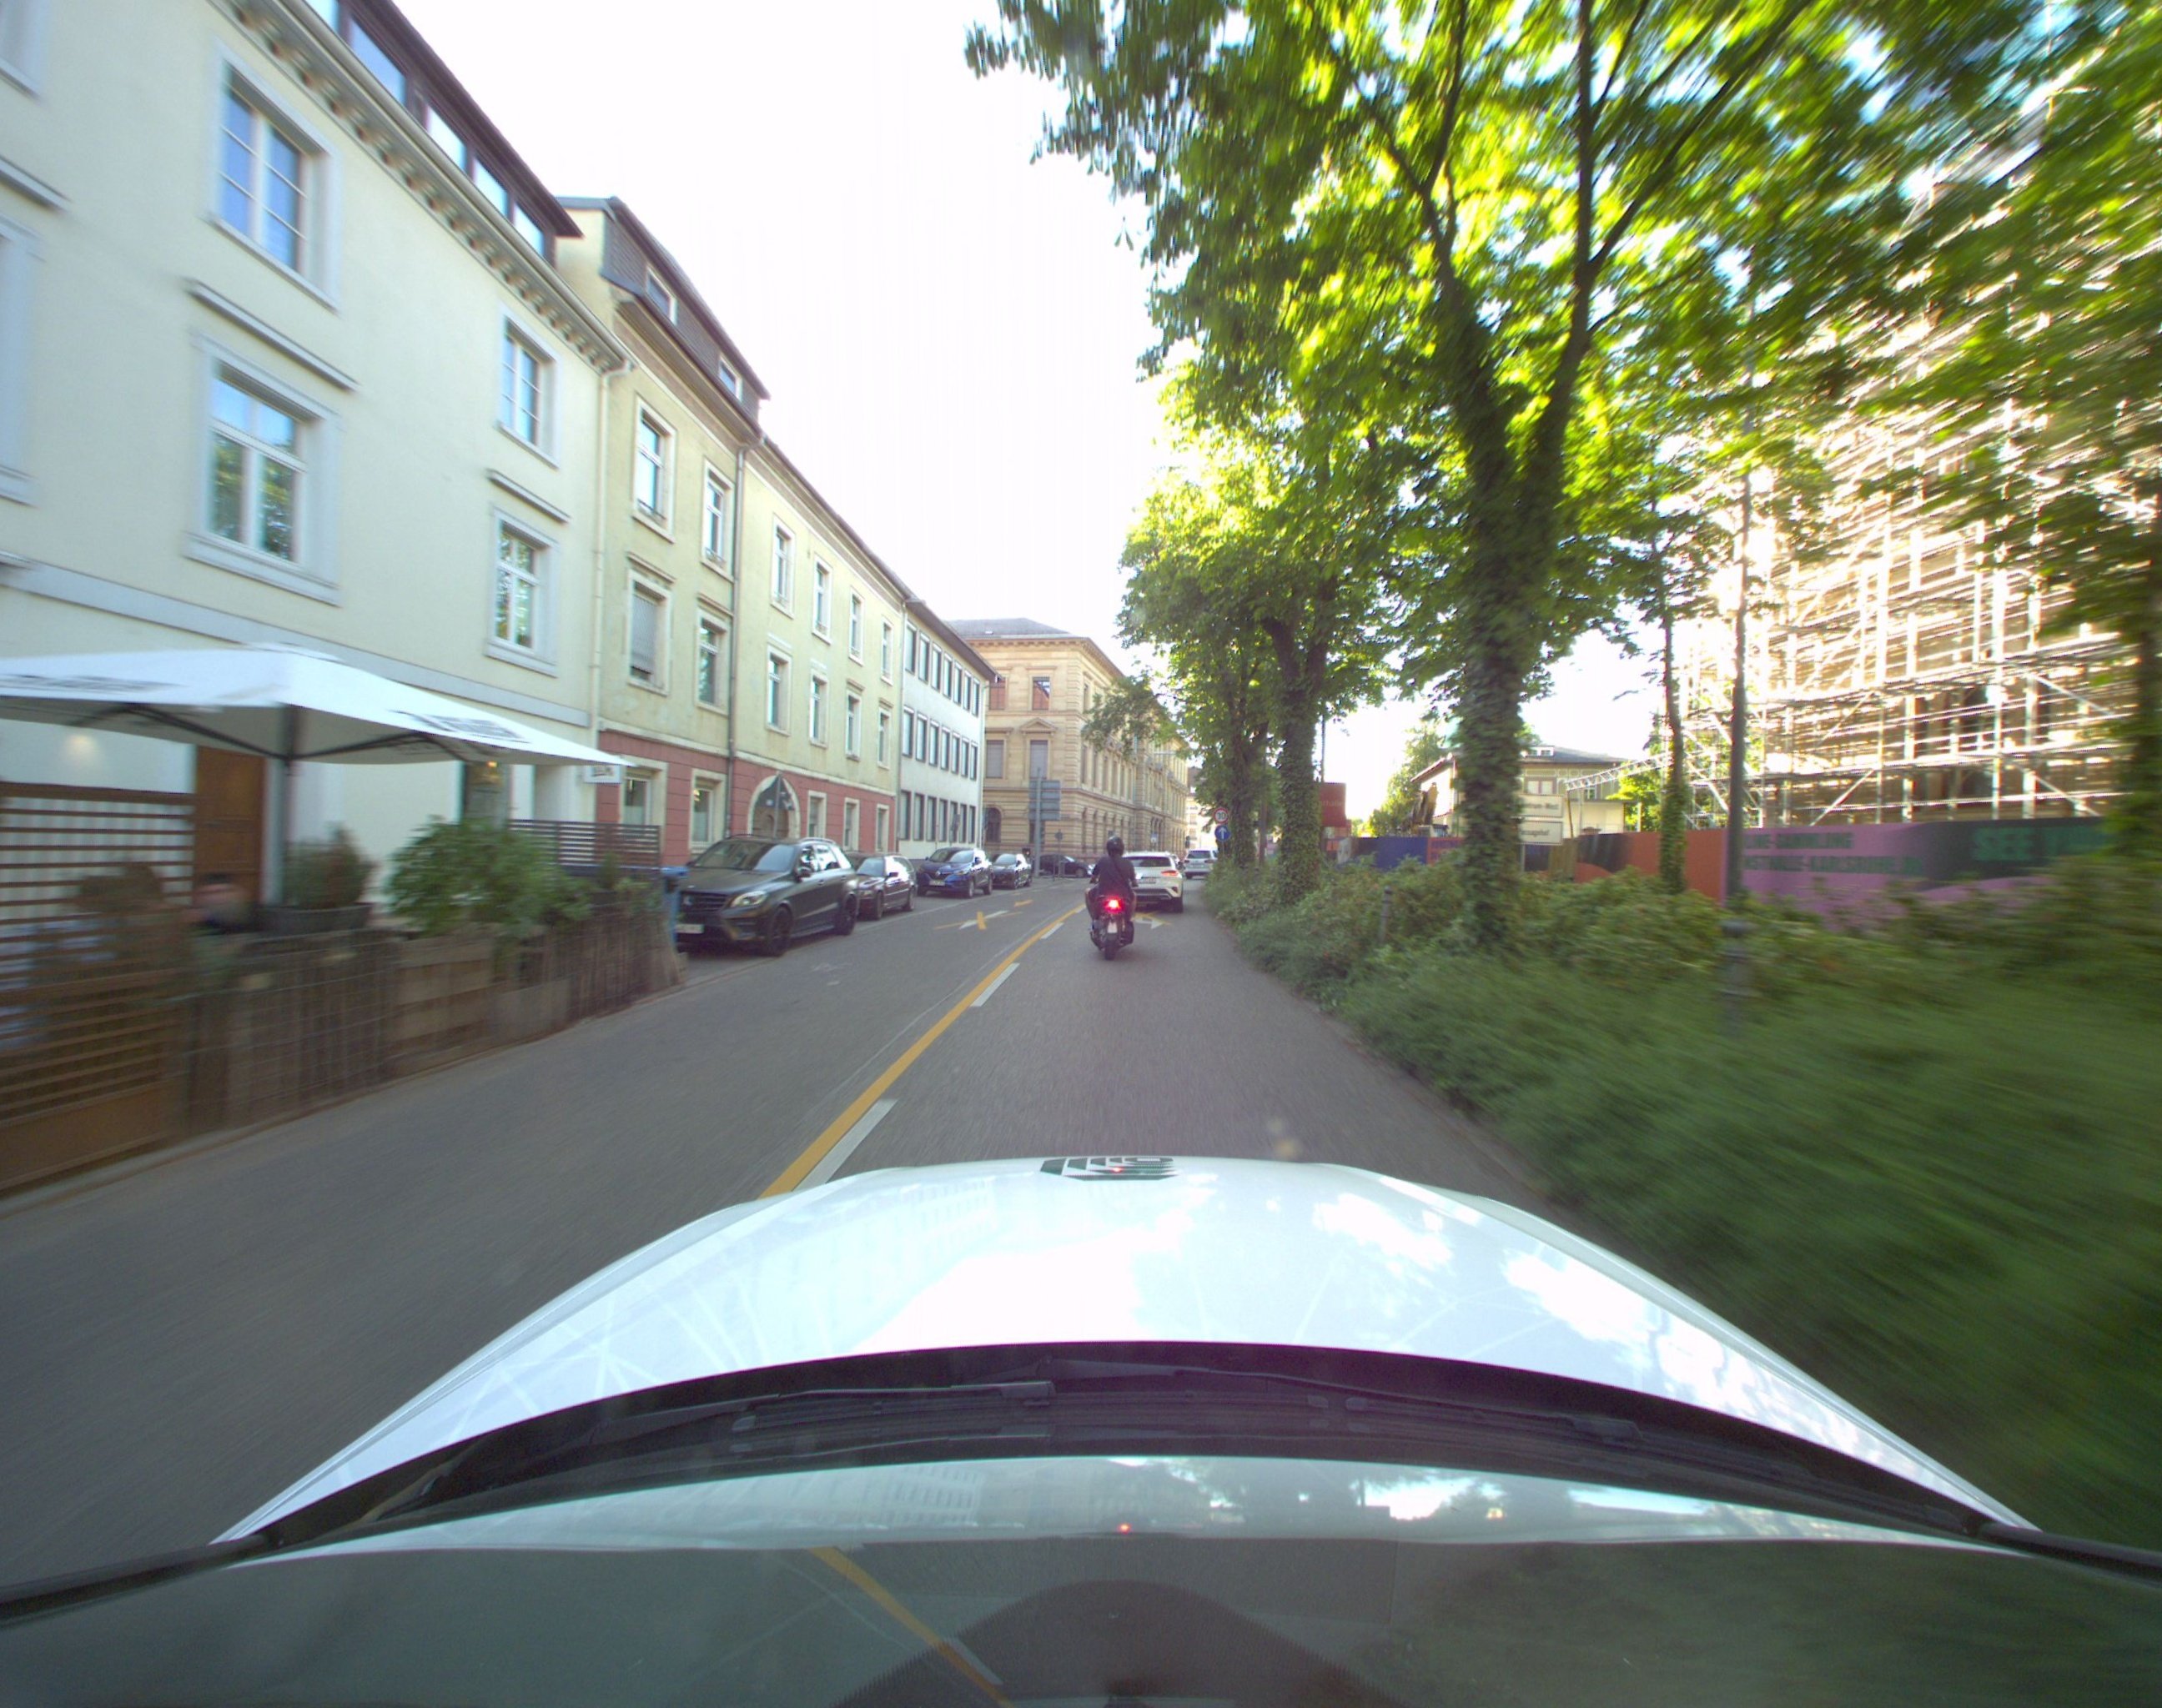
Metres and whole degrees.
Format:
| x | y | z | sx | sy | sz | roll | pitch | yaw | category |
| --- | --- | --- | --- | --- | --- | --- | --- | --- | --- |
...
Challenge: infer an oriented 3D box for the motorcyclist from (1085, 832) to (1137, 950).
| x | y | z | sx | sy | sz | roll | pitch | yaw | category |
| --- | --- | --- | --- | --- | --- | --- | --- | --- | --- |
| 0.449 | 0.529 | 11.924 | 0.654 | 1.650 | 0.651 | 2 | 0 | 5 | motorcyclist |

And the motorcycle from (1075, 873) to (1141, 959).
| x | y | z | sx | sy | sz | roll | pitch | yaw | category |
| --- | --- | --- | --- | --- | --- | --- | --- | --- | --- |
| 0.425 | 0.852 | 11.753 | 0.792 | 1.066 | 1.728 | 2 | 0 | 6 | motorcycle |

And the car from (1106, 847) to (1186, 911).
| x | y | z | sx | sy | sz | roll | pitch | yaw | category |
| --- | --- | --- | --- | --- | --- | --- | --- | --- | --- |
| 1.749 | 0.578 | 21.099 | 1.841 | 1.480 | 4.065 | 0 | 0 | 6 | car |

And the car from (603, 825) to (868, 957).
| x | y | z | sx | sy | sz | roll | pitch | yaw | category |
| --- | --- | --- | --- | --- | --- | --- | --- | --- | --- |
| -5.107 | 0.467 | 12.932 | 1.914 | 1.679 | 4.789 | 1 | 0 | 3 | car |

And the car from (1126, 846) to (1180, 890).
| x | y | z | sx | sy | sz | roll | pitch | yaw | category |
| --- | --- | --- | --- | --- | --- | --- | --- | --- | --- |
| 2.795 | 0.494 | 30.894 | 1.830 | 1.463 | 4.065 | 2 | 0 | 7 | car |

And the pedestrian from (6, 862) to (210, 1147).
| x | y | z | sx | sy | sz | roll | pitch | yaw | category |
| --- | --- | --- | --- | --- | --- | --- | --- | --- | --- |
| -5.252 | 0.770 | 4.421 | 0.468 | 1.433 | 0.503 | 2 | 0 | 6 | pedestrian |

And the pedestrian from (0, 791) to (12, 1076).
| x | y | z | sx | sy | sz | roll | pitch | yaw | category |
| --- | --- | --- | --- | --- | --- | --- | --- | --- | --- |
| -6.985 | 0.492 | 4.851 | 0.434 | 1.775 | 0.600 | 1 | 0 | 14 | pedestrian |

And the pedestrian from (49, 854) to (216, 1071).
| x | y | z | sx | sy | sz | roll | pitch | yaw | category |
| --- | --- | --- | --- | --- | --- | --- | --- | --- | --- |
| -6.382 | 0.703 | 5.502 | 0.522 | 1.391 | 0.488 | 1 | 0 | -2 | pedestrian |

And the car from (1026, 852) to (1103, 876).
| x | y | z | sx | sy | sz | roll | pitch | yaw | category |
| --- | --- | --- | --- | --- | --- | --- | --- | --- | --- |
| -0.990 | 0.587 | 49.105 | 4.281 | 1.390 | 1.783 | 0 | 0 | 16 | car |

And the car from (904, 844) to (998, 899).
| x | y | z | sx | sy | sz | roll | pitch | yaw | category |
| --- | --- | --- | --- | --- | --- | --- | --- | --- | --- |
| -4.213 | 0.517 | 27.165 | 1.923 | 1.667 | 4.356 | 1 | 0 | 7 | car |

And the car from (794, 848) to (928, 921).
| x | y | z | sx | sy | sz | roll | pitch | yaw | category |
| --- | --- | --- | --- | --- | --- | --- | --- | --- | --- |
| -4.939 | 0.618 | 18.931 | 1.646 | 1.480 | 4.432 | 1 | 0 | 3 | car |

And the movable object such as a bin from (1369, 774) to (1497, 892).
| x | y | z | sx | sy | sz | roll | pitch | yaw | category |
| --- | --- | --- | --- | --- | --- | --- | --- | --- | --- |
| 15.003 | -0.857 | 35.467 | 3.287 | 4.539 | 7.926 | 1 | 0 | 9 | movable object such as a bin |

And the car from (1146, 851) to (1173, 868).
| x | y | z | sx | sy | sz | roll | pitch | yaw | category |
| --- | --- | --- | --- | --- | --- | --- | --- | --- | --- |
| 7.017 | 0.472 | 72.795 | 1.981 | 1.528 | 4.197 | 0 | 0 | 11 | car |

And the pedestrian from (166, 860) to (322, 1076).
| x | y | z | sx | sy | sz | roll | pitch | yaw | category |
| --- | --- | --- | --- | --- | --- | --- | --- | --- | --- |
| -5.667 | 0.744 | 5.537 | 0.522 | 1.391 | 0.488 | 1 | 0 | -2 | pedestrian |

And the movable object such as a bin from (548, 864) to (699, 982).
| x | y | z | sx | sy | sz | roll | pitch | yaw | category |
| --- | --- | --- | --- | --- | --- | --- | --- | --- | --- |
| -5.380 | 0.777 | 9.645 | 1.210 | 1.295 | 0.932 | 1 | 0 | 6 | movable object such as a bin |

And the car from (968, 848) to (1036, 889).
| x | y | z | sx | sy | sz | roll | pitch | yaw | category |
| --- | --- | --- | --- | --- | --- | --- | --- | --- | --- |
| -3.227 | 0.558 | 34.228 | 1.814 | 1.503 | 4.769 | 2 | 1 | 7 | car |

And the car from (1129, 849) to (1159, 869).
| x | y | z | sx | sy | sz | roll | pitch | yaw | category |
| --- | --- | --- | --- | --- | --- | --- | --- | --- | --- |
| 5.244 | 0.379 | 67.290 | 1.981 | 1.567 | 4.302 | 0 | 0 | 11 | car |
